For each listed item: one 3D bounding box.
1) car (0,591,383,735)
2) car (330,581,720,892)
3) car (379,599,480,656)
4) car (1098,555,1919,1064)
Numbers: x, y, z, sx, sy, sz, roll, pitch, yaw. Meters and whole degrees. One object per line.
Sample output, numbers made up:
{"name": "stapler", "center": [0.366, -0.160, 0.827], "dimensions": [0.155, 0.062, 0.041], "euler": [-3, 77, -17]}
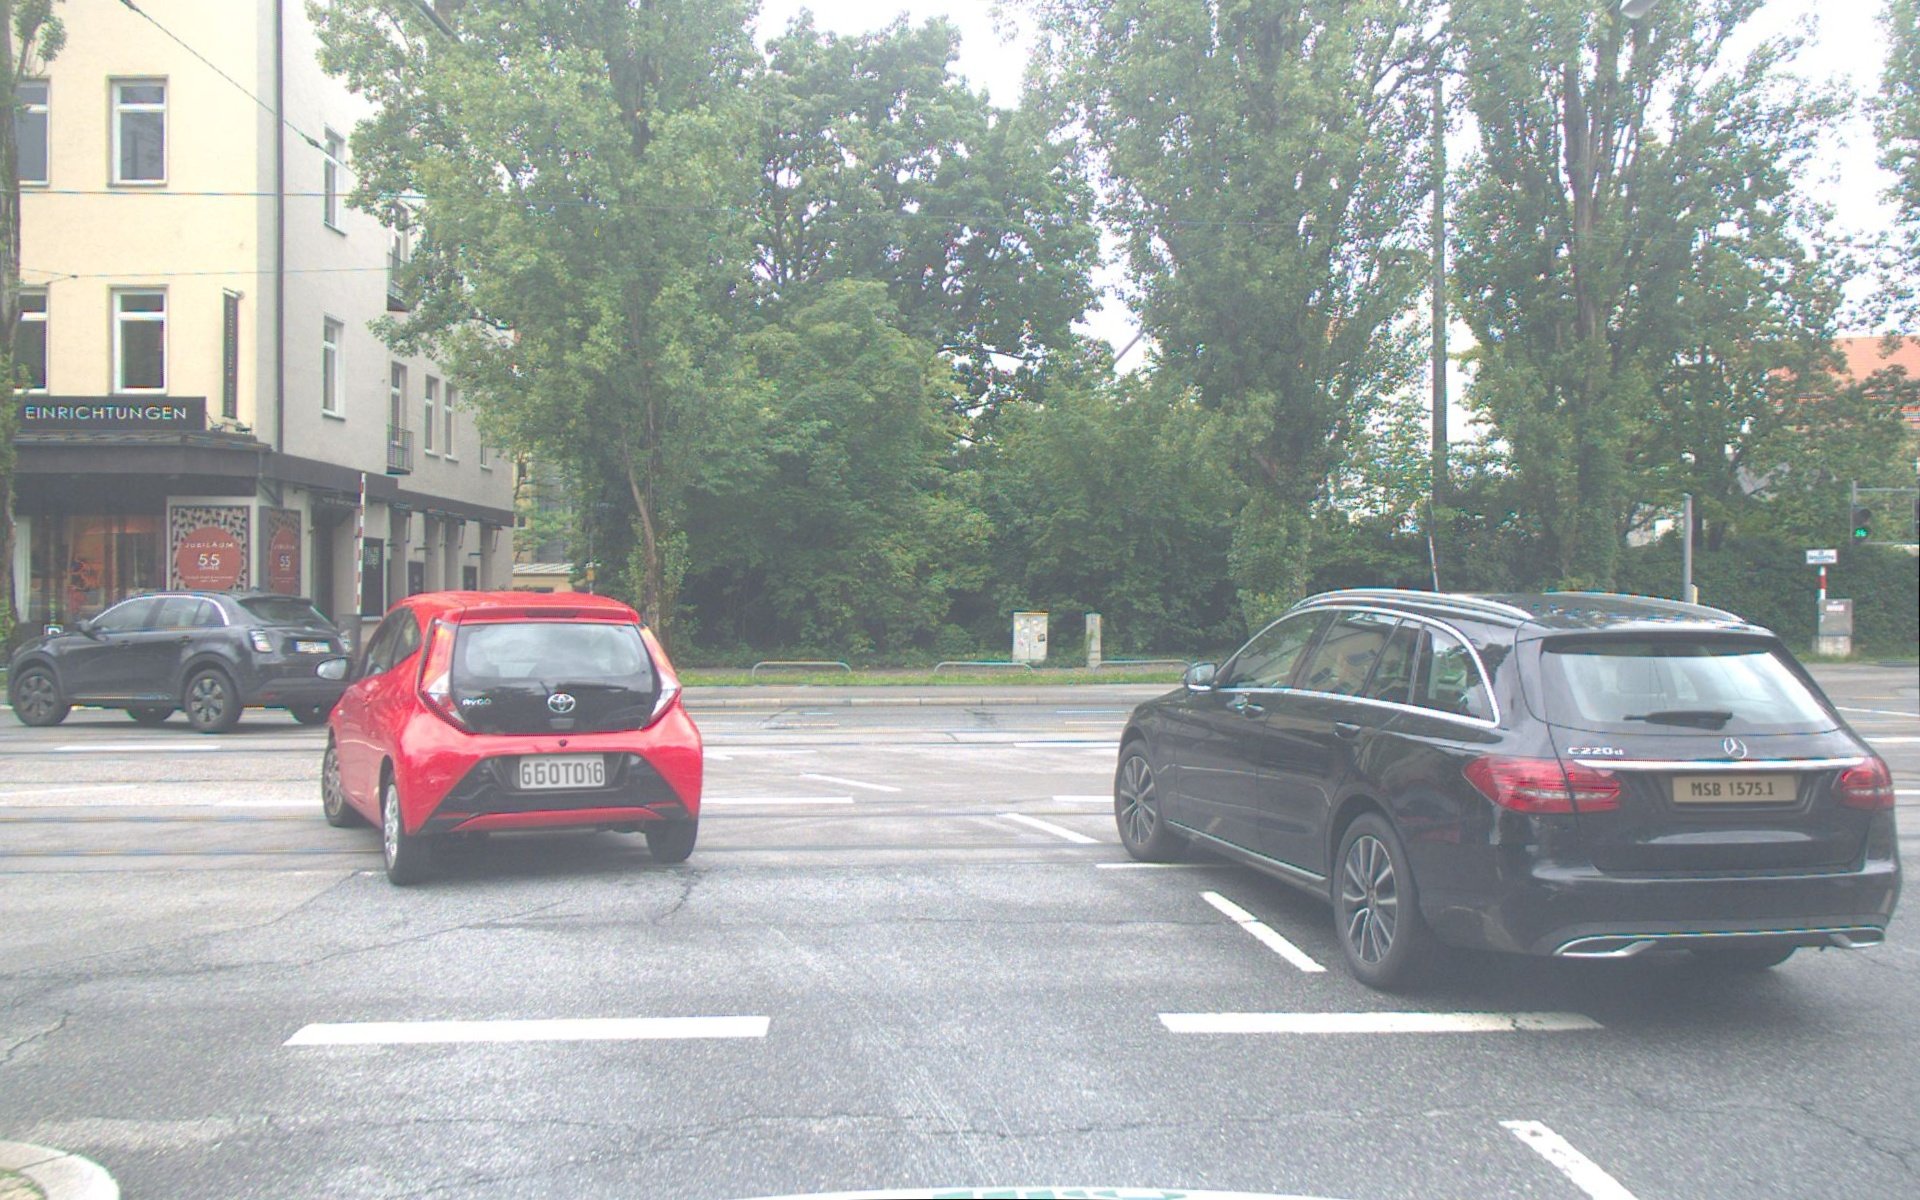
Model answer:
{"name": "car", "center": [-8.772, 0.677, 18.891], "dimensions": [3.905, 1.512, 1.787], "euler": [-1, 0, 21]}
{"name": "car", "center": [-2.685, 0.639, 9.688], "dimensions": [1.609, 1.465, 3.348], "euler": [0, 0, -26]}
{"name": "car", "center": [-14.356, 0.713, 44.942], "dimensions": [1.691, 1.467, 3.997], "euler": [0, 0, -4]}
{"name": "car", "center": [2.170, 0.637, 7.616], "dimensions": [1.830, 1.576, 4.690], "euler": [0, 0, -11]}
